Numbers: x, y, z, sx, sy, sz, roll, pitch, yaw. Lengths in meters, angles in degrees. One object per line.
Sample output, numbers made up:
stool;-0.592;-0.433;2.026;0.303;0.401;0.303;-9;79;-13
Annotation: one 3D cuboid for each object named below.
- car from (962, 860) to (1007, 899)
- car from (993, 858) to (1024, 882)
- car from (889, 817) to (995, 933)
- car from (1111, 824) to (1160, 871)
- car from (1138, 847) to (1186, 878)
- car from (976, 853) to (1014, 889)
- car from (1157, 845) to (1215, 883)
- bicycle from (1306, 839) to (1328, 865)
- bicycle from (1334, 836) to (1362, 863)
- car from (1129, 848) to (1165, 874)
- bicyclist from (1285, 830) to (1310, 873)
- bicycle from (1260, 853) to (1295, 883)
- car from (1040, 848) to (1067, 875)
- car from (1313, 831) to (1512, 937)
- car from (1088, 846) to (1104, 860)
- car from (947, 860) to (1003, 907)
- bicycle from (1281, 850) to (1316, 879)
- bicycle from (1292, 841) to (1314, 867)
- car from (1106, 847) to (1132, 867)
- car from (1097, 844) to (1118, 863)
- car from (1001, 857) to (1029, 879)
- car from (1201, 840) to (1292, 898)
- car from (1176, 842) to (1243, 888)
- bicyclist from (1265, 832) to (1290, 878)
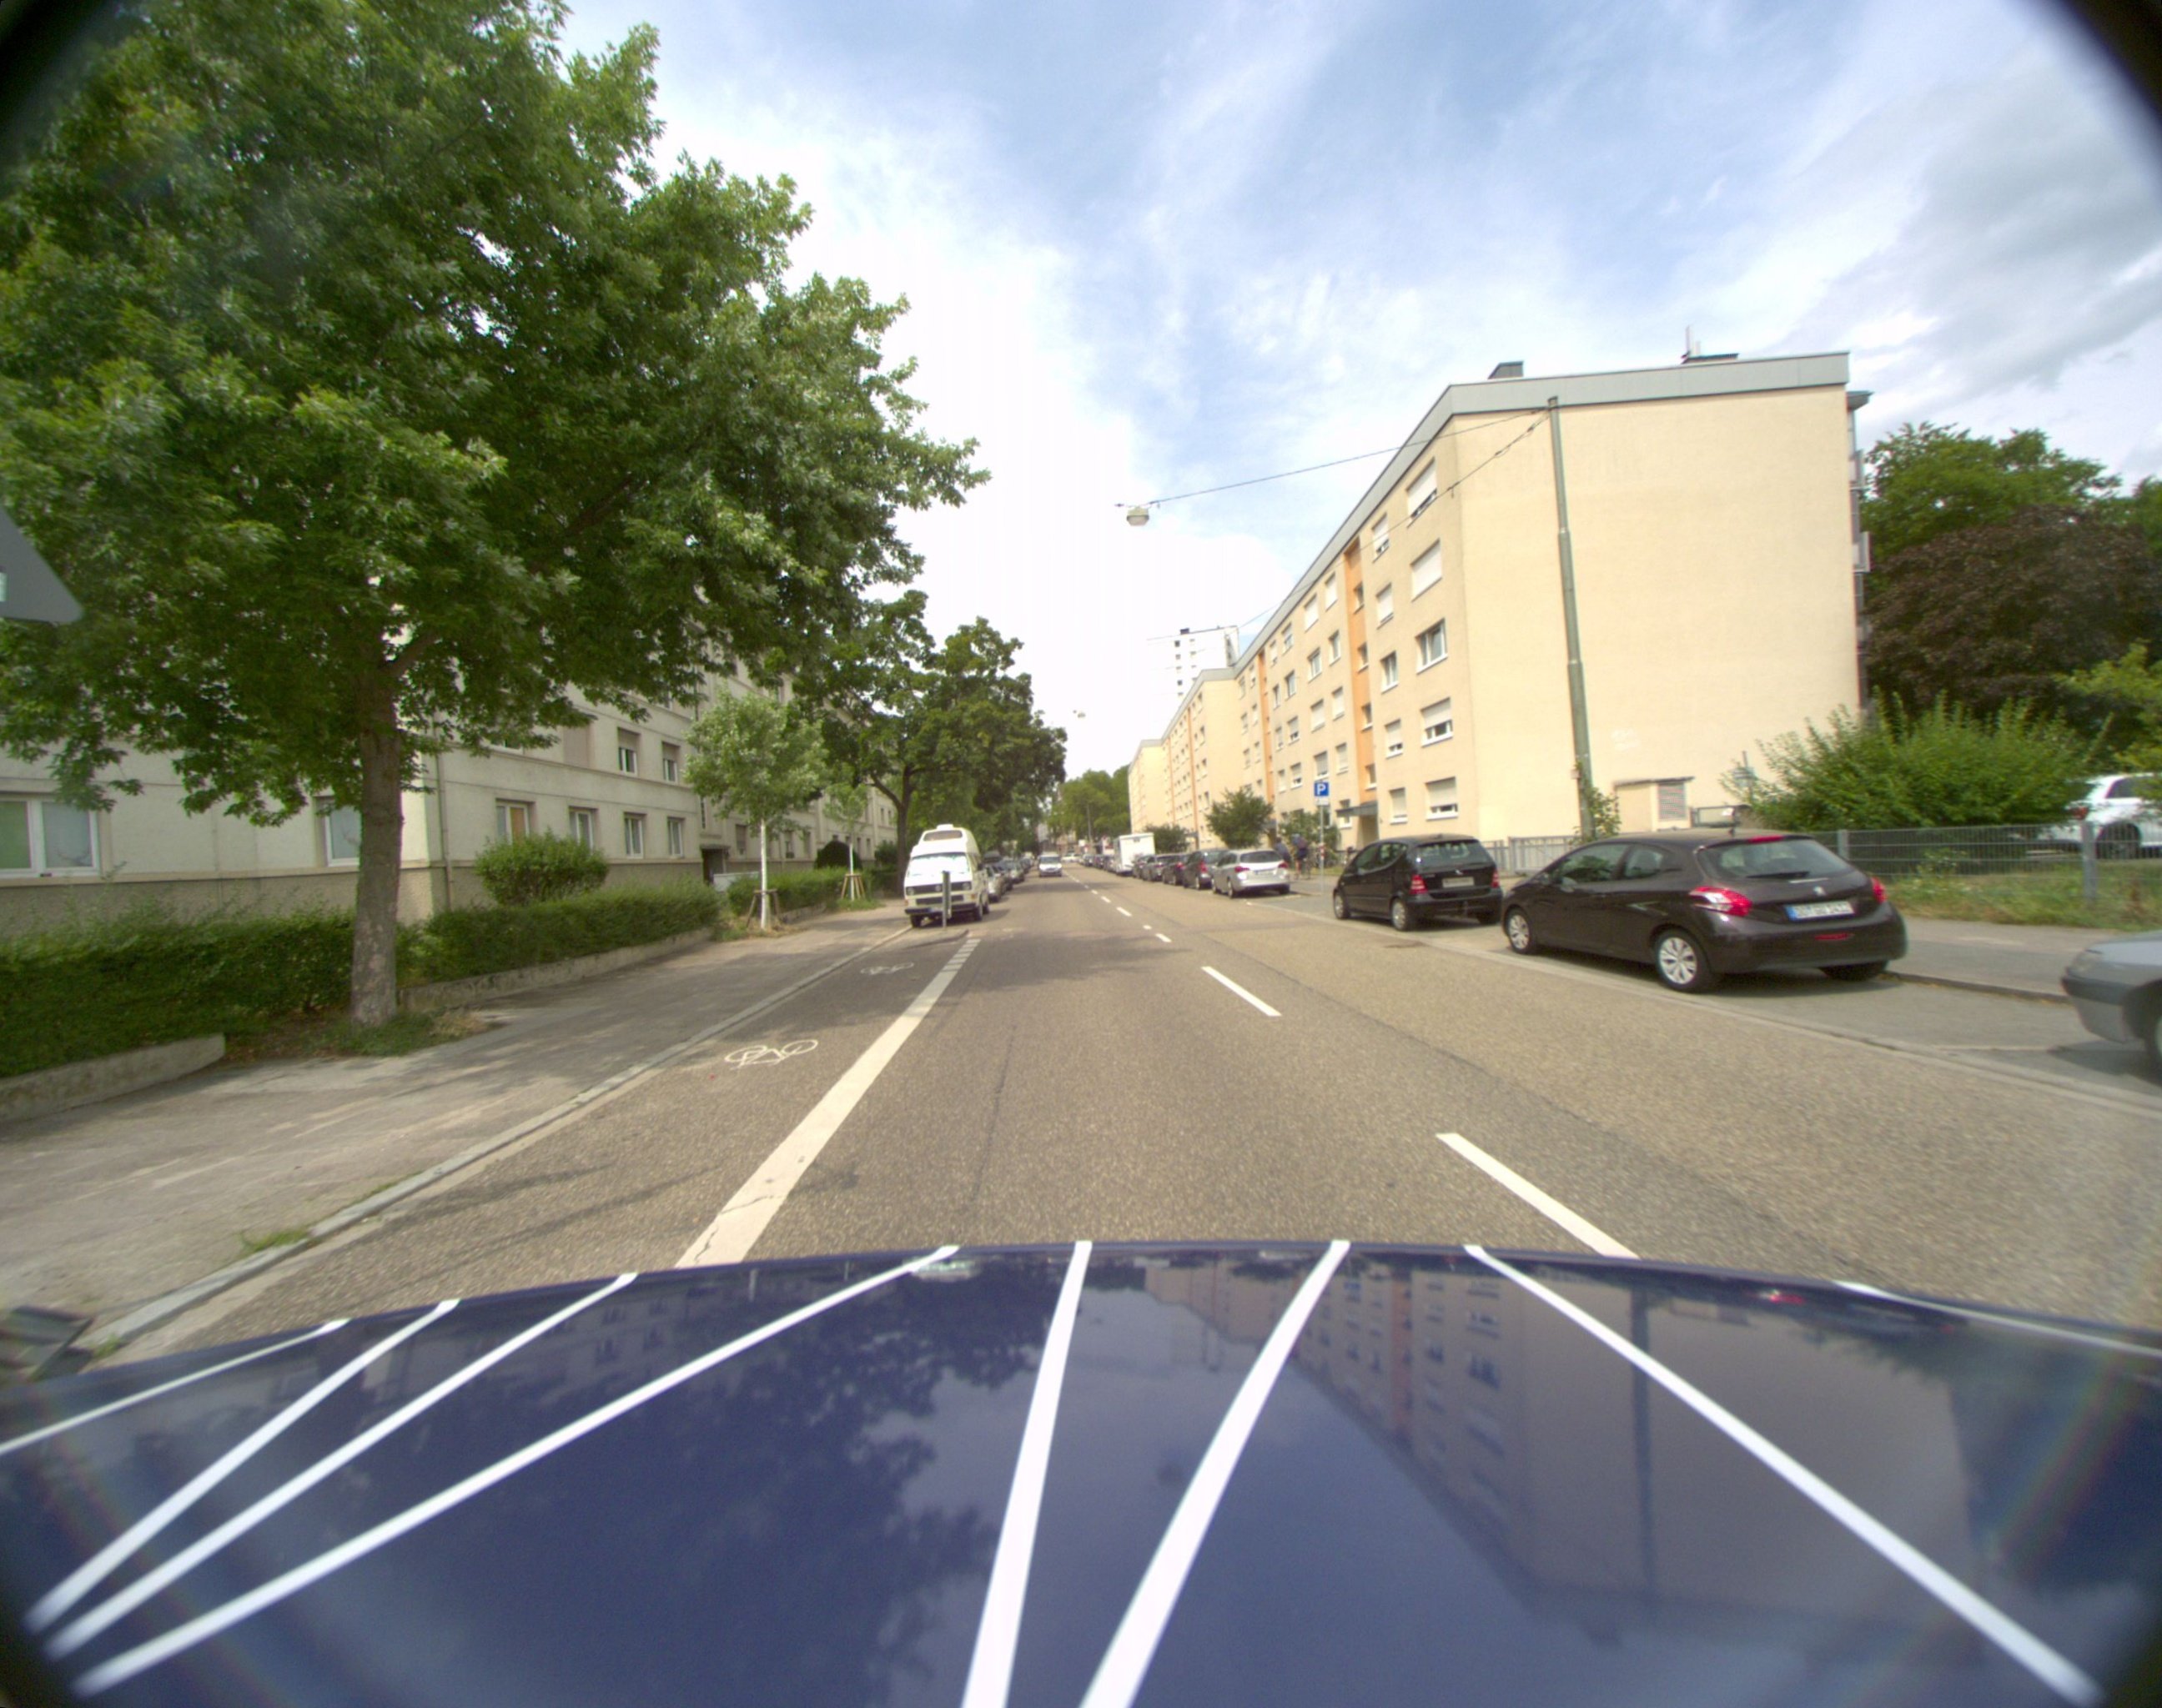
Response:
car;-4.265;1.104;34.079;1.676;1.445;3.783;-6;1;-4
car;-4.680;0.991;49.286;1.676;1.392;3.784;-2;1;-1
car;-3.609;0.466;20.676;1.900;2.587;4.903;-6;1;-2
car;3.753;-0.432;54.119;2.622;3.040;7.112;-2;0;-2
car;4.359;0.416;41.676;1.722;1.498;4.623;-3;1;-5
car;-4.385;0.845;39.230;1.676;1.666;4.269;-2;1;-4
car;4.779;0.416;35.229;1.681;1.495;4.262;-4;1;-5
bicycle;11.461;-0.099;36.983;0.534;1.200;2.018;-5;1;5
bicycle;12.759;-0.230;36.366;0.534;1.200;2.017;-5;1;0
car;4.065;0.418;47.482;1.617;1.475;4.056;-2;1;-3
bicyclist;8.409;-0.087;29.468;0.616;1.599;0.765;-5;2;-2
bicycle;7.269;0.488;28.223;0.625;0.996;2.081;-5;1;-2
car;-2.191;0.567;59.782;1.999;2.002;3.998;-2;1;-2
car;5.813;0.450;13.898;1.626;1.566;3.998;-4;1;-4
car;1.876;-0.162;96.051;1.806;1.625;3.893;-2;1;-2
car;-3.950;1.064;28.990;1.676;1.442;4.642;-5;1;-4
bicycle;8.441;0.383;29.595;0.625;0.996;2.081;-5;1;-2
bicycle;10.815;-0.025;37.069;0.534;1.200;2.018;-6;1;5
car;3.274;0.229;66.166;1.853;1.623;4.216;-2;1;-2
car;2.705;-0.098;78.168;1.723;1.787;3.893;-2;1;-2
car;-4.661;0.953;54.256;1.676;1.445;3.784;-2;1;-1
car;5.231;0.444;24.674;1.791;1.554;4.550;-6;0;-1
car;5.050;0.409;30.443;1.722;1.615;3.838;-4;1;-4
bicyclist;7.228;0.031;27.957;0.616;1.599;0.765;-5;2;-2
